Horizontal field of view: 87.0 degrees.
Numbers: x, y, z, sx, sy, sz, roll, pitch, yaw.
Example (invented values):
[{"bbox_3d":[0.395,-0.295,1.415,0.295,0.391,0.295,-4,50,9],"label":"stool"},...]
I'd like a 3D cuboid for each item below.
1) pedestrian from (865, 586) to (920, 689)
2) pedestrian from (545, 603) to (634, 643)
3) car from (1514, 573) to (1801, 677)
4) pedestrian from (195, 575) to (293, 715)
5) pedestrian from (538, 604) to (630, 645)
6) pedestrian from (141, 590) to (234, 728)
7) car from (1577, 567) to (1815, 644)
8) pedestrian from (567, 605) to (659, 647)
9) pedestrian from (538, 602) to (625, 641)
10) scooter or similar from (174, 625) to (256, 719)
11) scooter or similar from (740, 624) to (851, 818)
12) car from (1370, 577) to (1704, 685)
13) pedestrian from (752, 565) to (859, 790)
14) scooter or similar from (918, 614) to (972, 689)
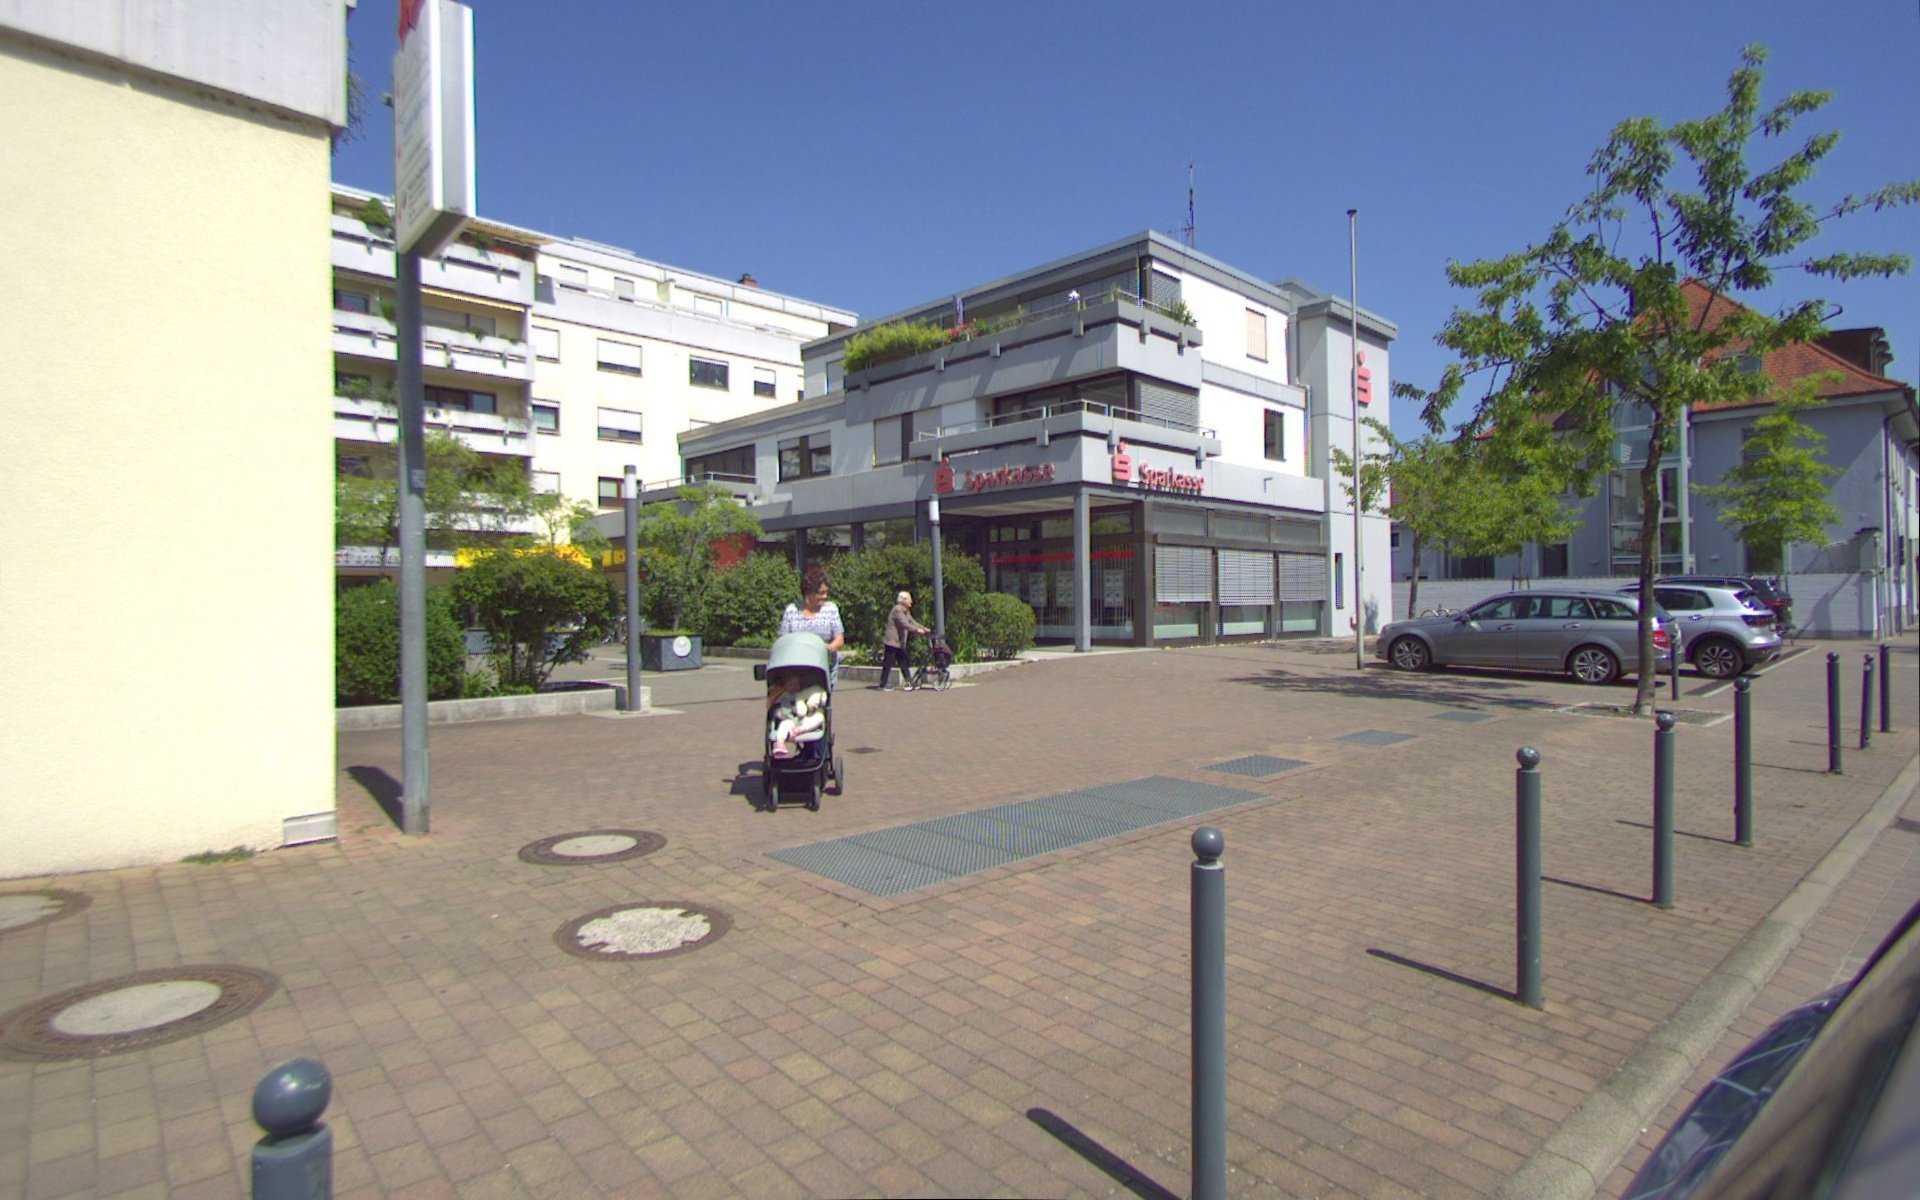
[{"bbox_3d":[-1.014,0.563,15.405,0.795,1.516,0.669,-1,-1,-2],"label":"pedestrian"},{"bbox_3d":[-12.687,0.755,34.755,0.982,1.290,2.736,-1,0,40],"label":"pedestrian"},{"bbox_3d":[12.393,0.344,18.145,3.988,1.592,1.828,2,3,45],"label":"car"},{"bbox_3d":[-9.391,0.565,13.277,0.700,1.758,0.890,-1,0,39],"label":"pedestrian"},{"bbox_3d":[-12.437,0.787,33.576,0.982,1.290,2.736,-1,0,40],"label":"pedestrian"},{"bbox_3d":[-8.909,0.653,11.705,0.606,1.516,0.813,-1,0,-17],"label":"pedestrian"},{"bbox_3d":[18.730,0.066,25.910,2.112,1.793,4.635,0,1,-43],"label":"car"},{"bbox_3d":[-11.339,0.831,33.145,0.982,1.290,2.736,-1,0,40],"label":"pedestrian"},{"bbox_3d":[-13.204,0.724,35.428,0.982,1.290,2.736,-1,0,40],"label":"pedestrian"},{"bbox_3d":[-9.165,0.866,12.476,0.578,1.088,0.807,-1,0,-17],"label":"scooter or similar"},{"bbox_3d":[-1.037,0.732,6.563,0.615,1.120,1.044,-1,0,-4],"label":"scooter or similar"},{"bbox_3d":[9.523,0.397,16.957,4.575,1.531,1.887,2,2,43],"label":"car"},{"bbox_3d":[-1.105,0.534,7.388,0.692,1.540,0.802,-1,0,-4],"label":"pedestrian"},{"bbox_3d":[-0.226,0.770,15.358,0.790,1.088,0.591,-1,0,-1],"label":"scooter or similar"}]
